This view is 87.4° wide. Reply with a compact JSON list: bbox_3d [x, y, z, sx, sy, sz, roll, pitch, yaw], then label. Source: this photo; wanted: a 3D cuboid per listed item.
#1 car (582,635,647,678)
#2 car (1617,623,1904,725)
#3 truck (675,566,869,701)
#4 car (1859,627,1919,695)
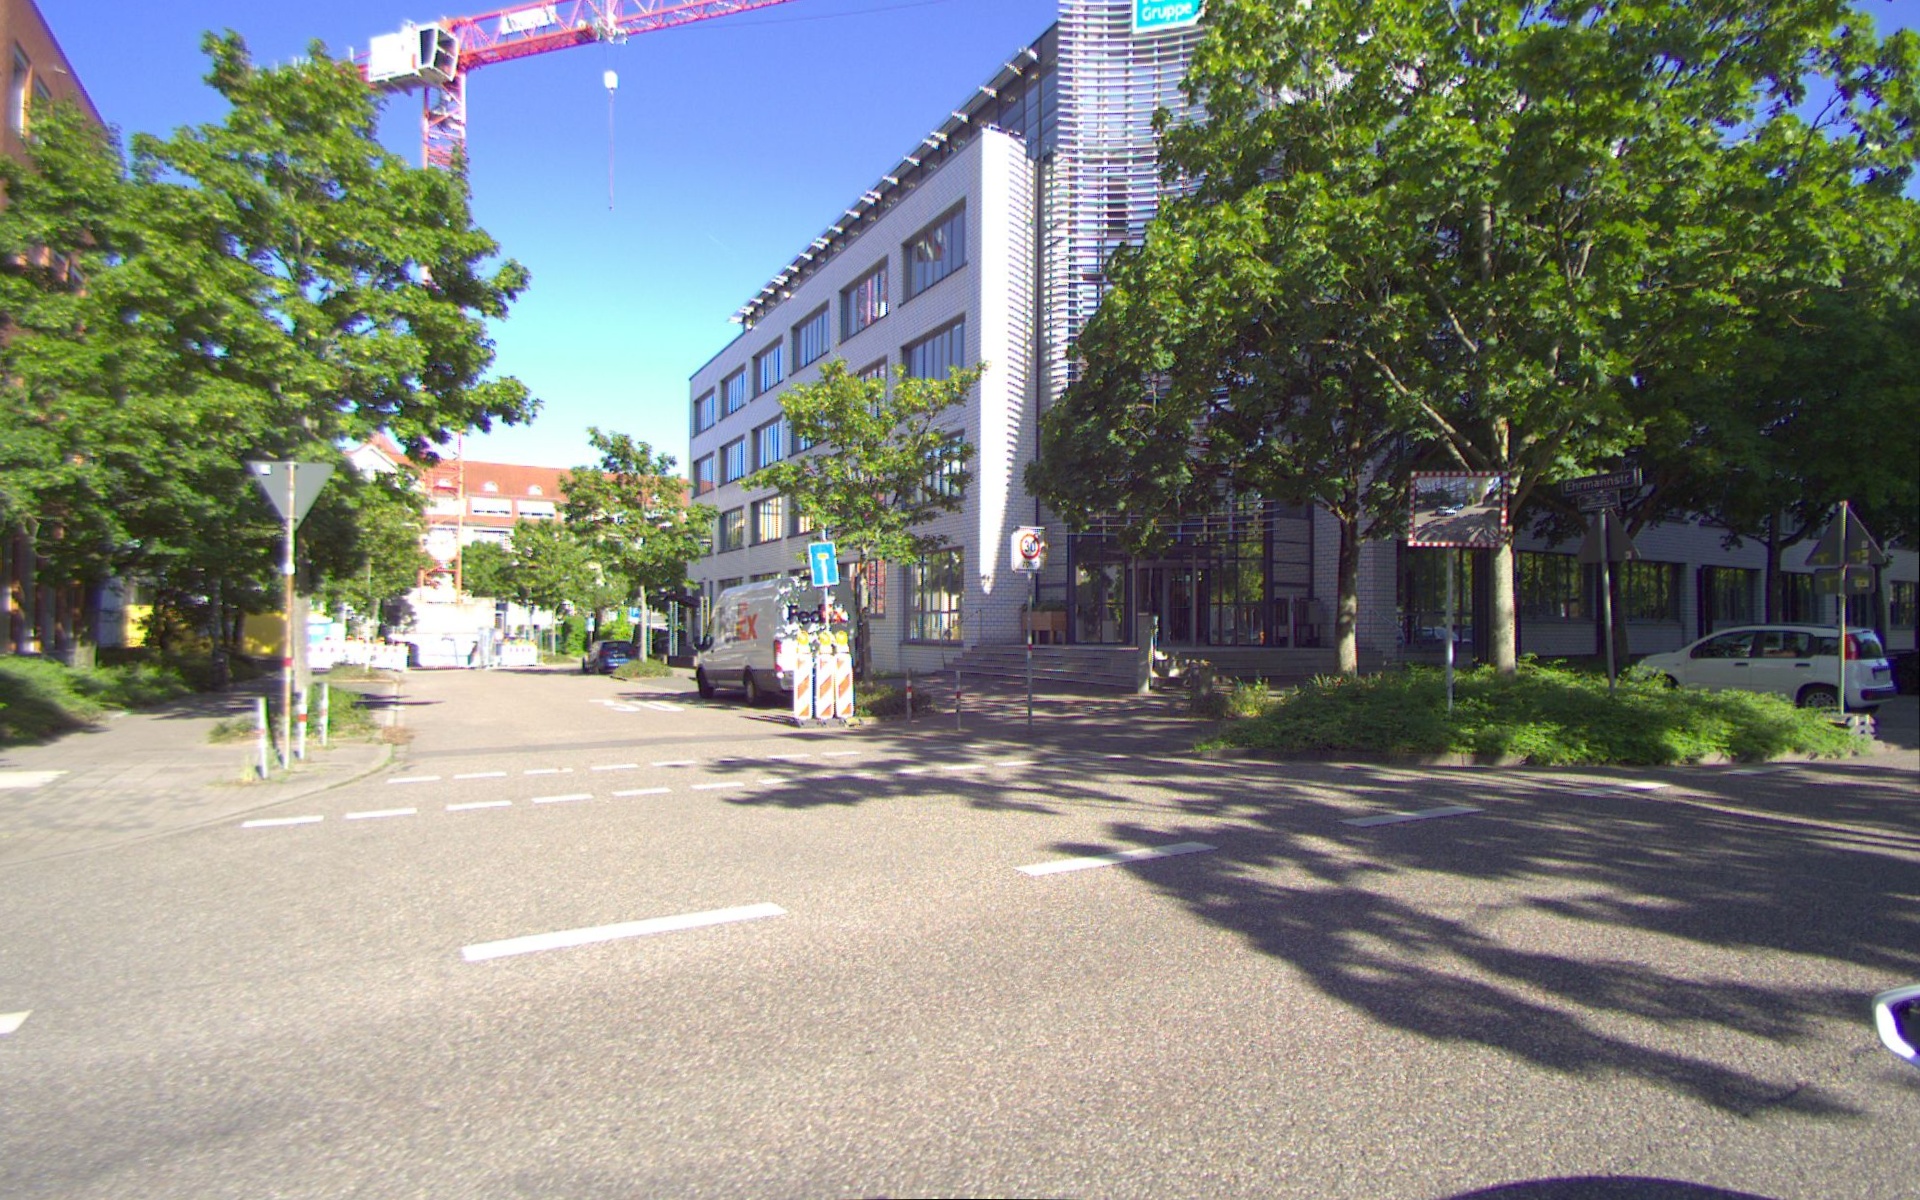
[{"bbox_3d":[-14.738,2.374,42.770,1.985,1.700,3.970,1,-2,-29],"label":"car"},{"bbox_3d":[13.692,1.216,17.366,1.620,1.569,3.561,4,-3,-31],"label":"car"},{"bbox_3d":[-4.590,0.795,23.588,2.549,2.740,6.074,1,-2,-31],"label":"truck"},{"bbox_3d":[22.136,1.335,21.707,1.657,1.483,3.715,1,-2,-30],"label":"car"}]
